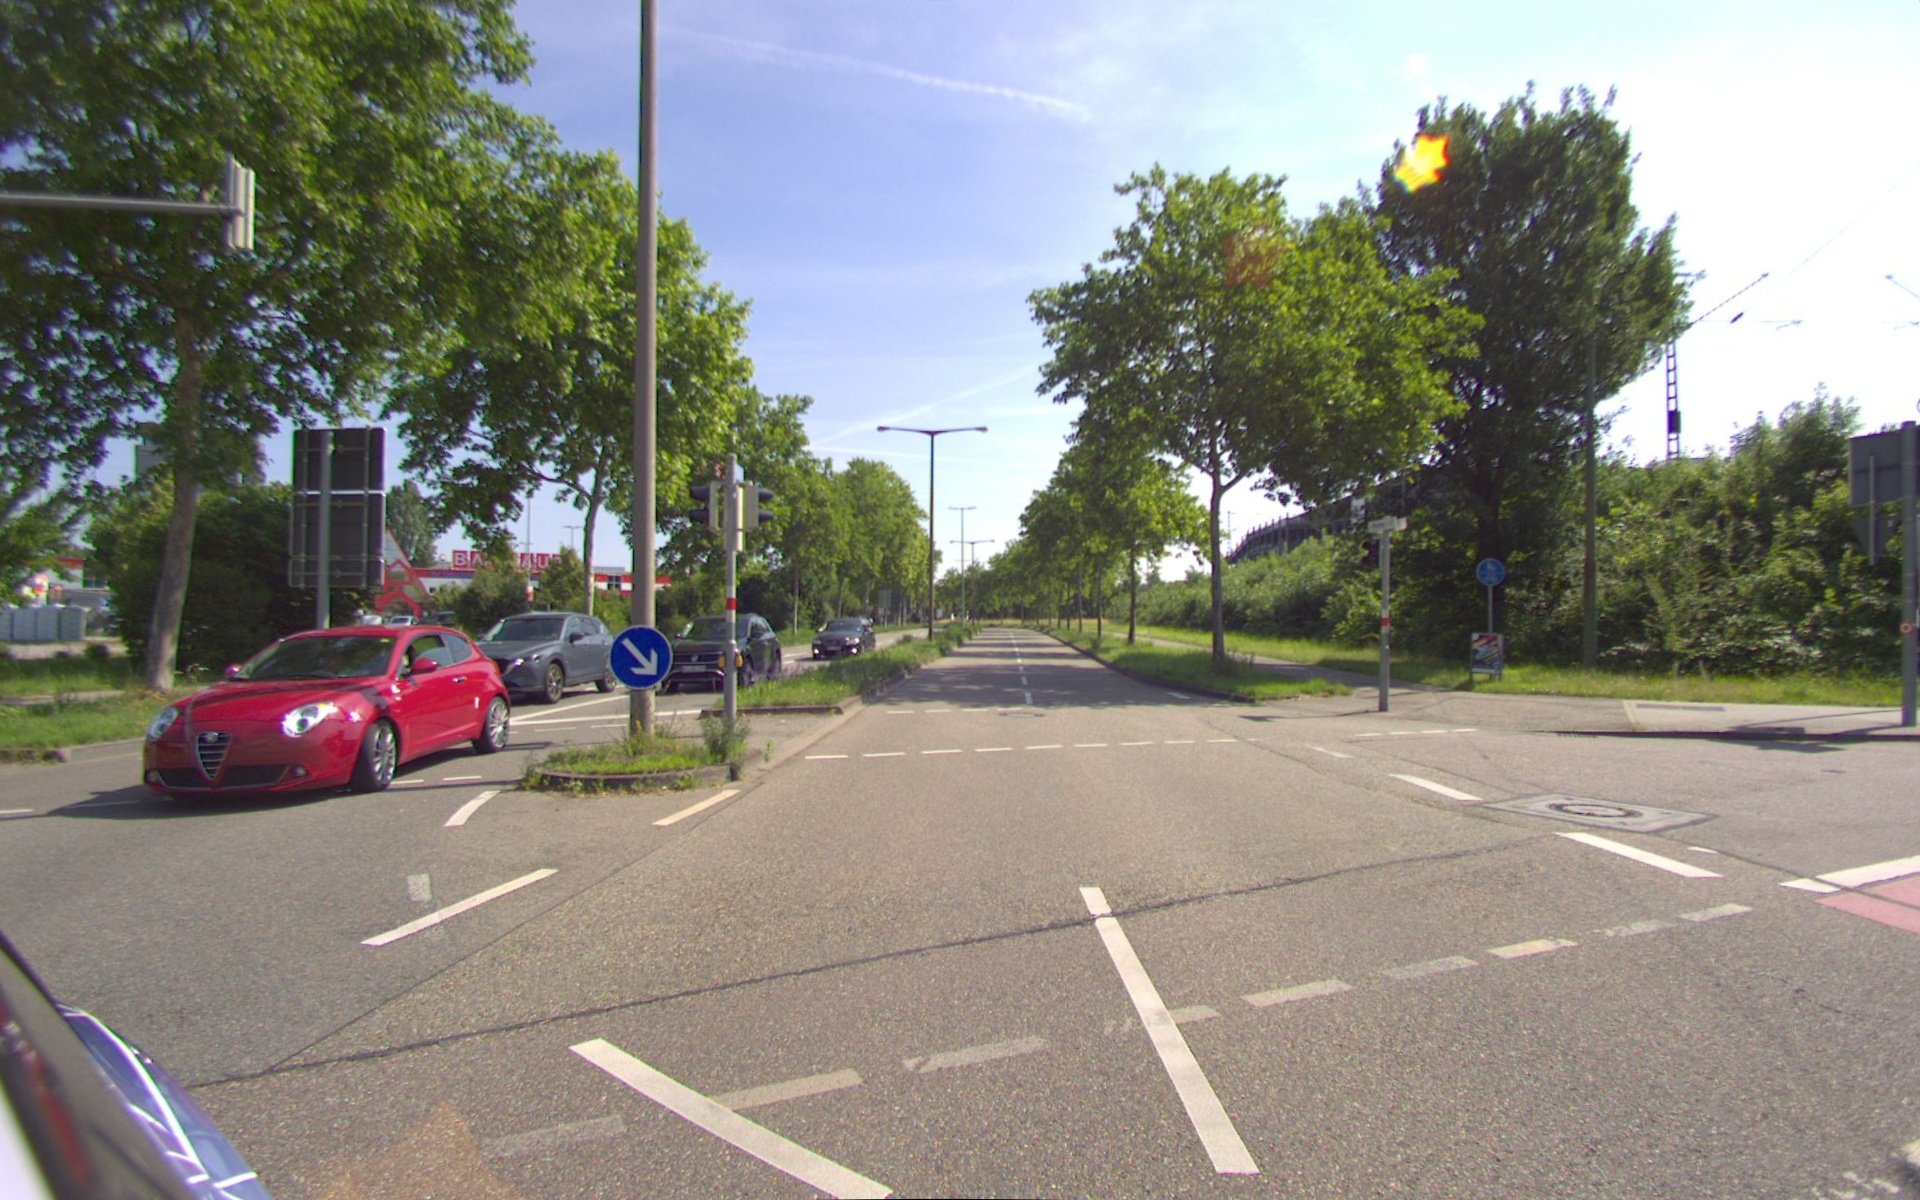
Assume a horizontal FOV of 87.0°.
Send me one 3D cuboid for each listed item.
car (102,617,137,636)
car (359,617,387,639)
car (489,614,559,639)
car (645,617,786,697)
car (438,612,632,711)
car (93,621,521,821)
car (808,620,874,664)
[{"bbox_3d":[-69.302,2.167,83.482,1.661,1.586,4.011,1,-1,-32],"label":"car"},{"bbox_3d":[-45.223,2.135,77.905,1.661,1.586,4.011,1,-1,-32],"label":"car"},{"bbox_3d":[-27.838,1.684,64.707,3.798,1.597,1.854,1,-1,-35],"label":"car"},{"bbox_3d":[-5.115,1.153,21.737,1.851,1.557,4.077,0,-1,3],"label":"car"},{"bbox_3d":[-8.104,1.115,19.805,1.748,1.671,4.492,-2,-1,2],"label":"car"},{"bbox_3d":[-5.780,0.953,9.595,1.636,1.449,3.909,-2,-1,-2],"label":"car"},{"bbox_3d":[-4.272,1.488,36.912,1.695,1.439,4.574,-2,-1,2],"label":"car"}]
